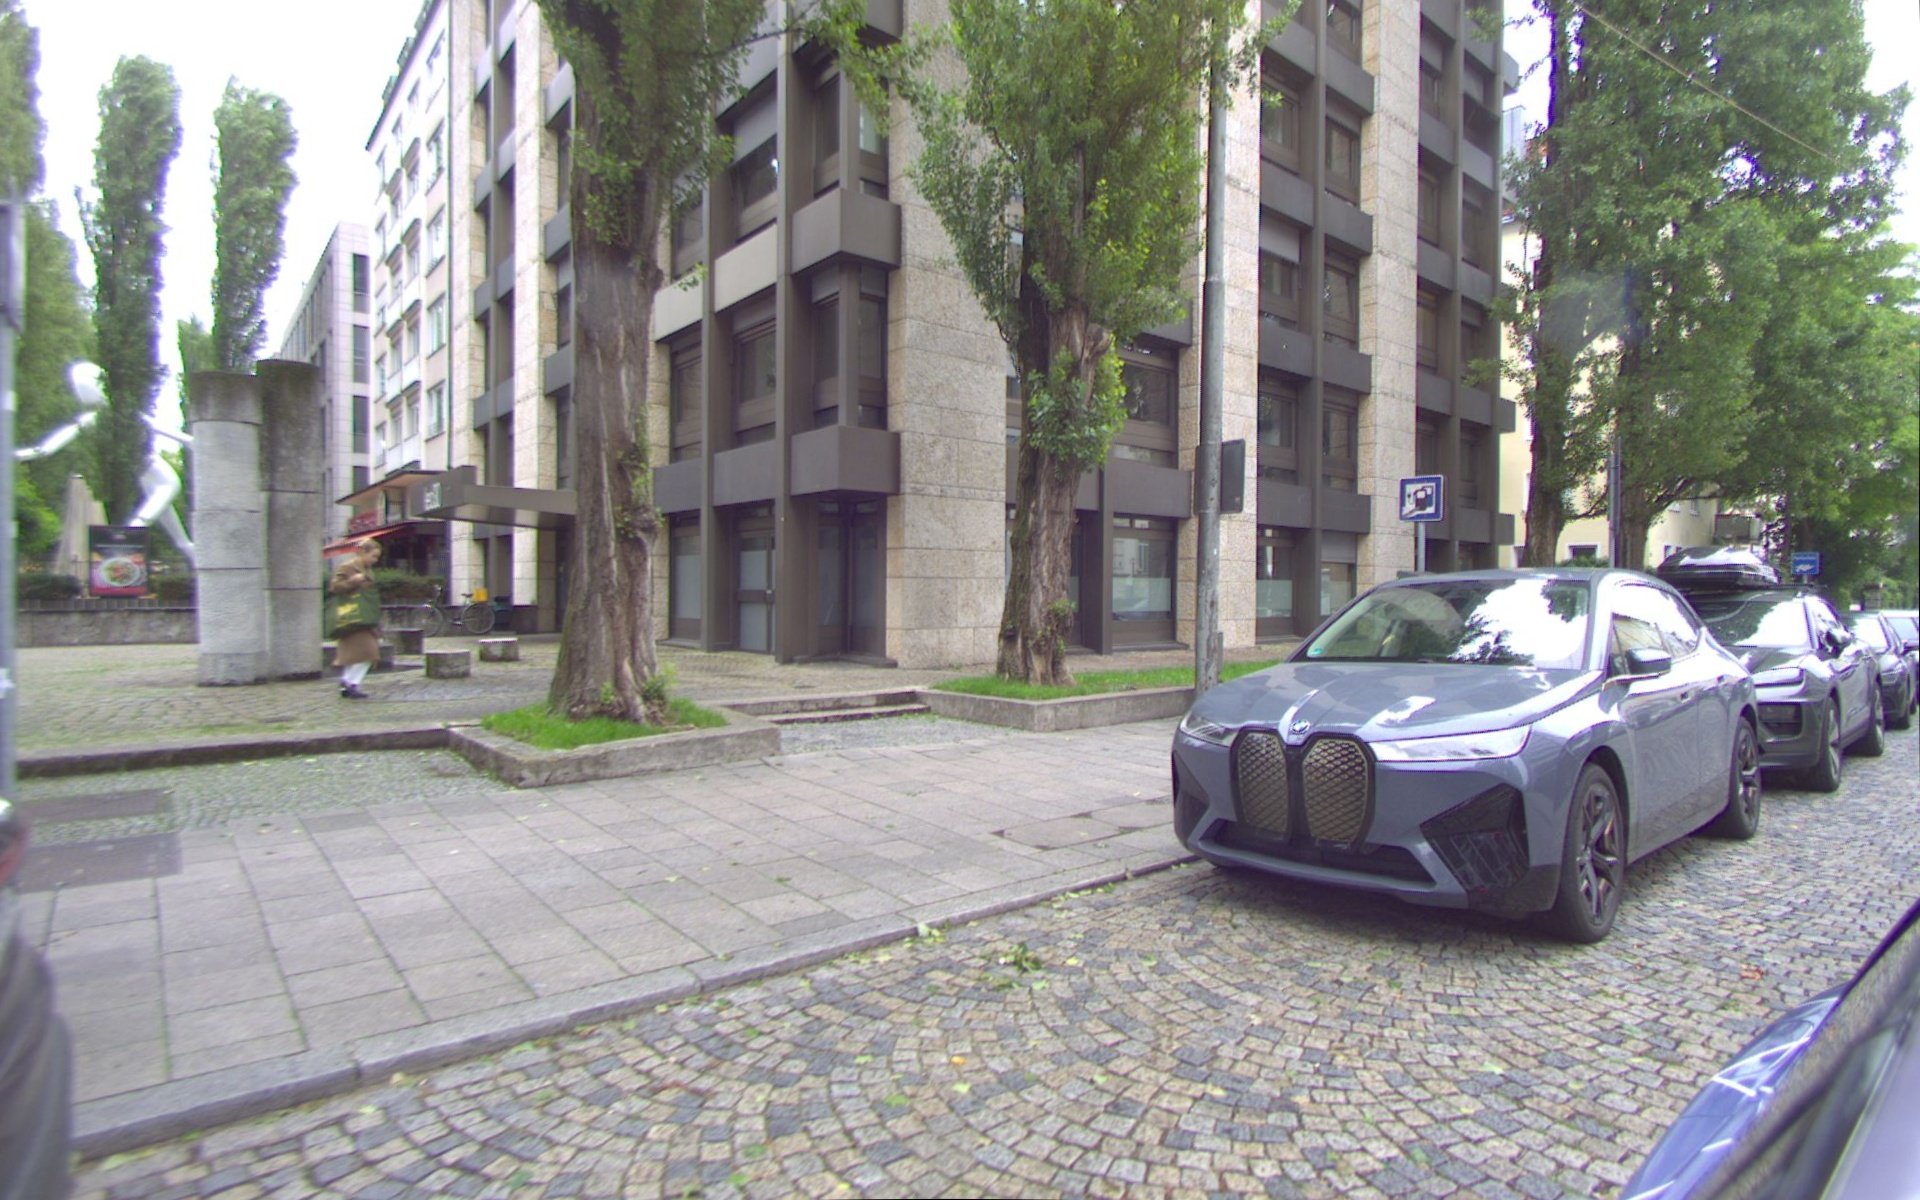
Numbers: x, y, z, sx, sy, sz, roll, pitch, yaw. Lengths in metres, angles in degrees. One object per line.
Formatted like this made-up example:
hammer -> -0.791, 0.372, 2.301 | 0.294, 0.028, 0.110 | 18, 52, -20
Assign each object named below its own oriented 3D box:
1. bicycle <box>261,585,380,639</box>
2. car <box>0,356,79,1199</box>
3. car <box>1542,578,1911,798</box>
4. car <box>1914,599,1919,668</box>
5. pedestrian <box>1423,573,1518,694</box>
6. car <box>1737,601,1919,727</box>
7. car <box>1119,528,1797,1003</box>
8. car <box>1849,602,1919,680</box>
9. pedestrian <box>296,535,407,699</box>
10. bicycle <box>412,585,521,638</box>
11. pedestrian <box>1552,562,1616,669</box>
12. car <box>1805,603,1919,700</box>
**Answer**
bicycle -> -14.410, 0.247, 22.850 | 2.206, 1.170, 0.647 | 0, 1, -40
car -> -3.201, 0.589, 0.519 | 4.129, 1.722, 1.923 | 0, 0, -42
car -> 7.354, 0.627, 9.550 | 4.267, 1.603, 1.997 | 0, 0, -42
car -> 23.320, 0.737, 23.195 | 3.808, 1.518, 1.865 | 0, 0, -43
pedestrian -> 7.559, 0.472, 15.007 | 0.893, 1.735, 0.871 | 0, 0, -20
car -> 11.962, 0.741, 13.721 | 4.136, 1.407, 1.720 | 0, 0, -45
car -> 3.190, 0.587, 5.963 | 4.592, 1.722, 2.016 | 0, 0, -42
car -> 19.090, 0.755, 19.886 | 3.807, 1.405, 1.996 | 0, 0, -42
pedestrian -> -6.257, 0.164, 10.438 | 0.696, 1.627, 0.720 | 1, 0, 3
bicycle -> -11.445, 0.250, 23.516 | 2.206, 1.170, 0.647 | 0, 1, -40
pedestrian -> 9.348, 0.217, 15.155 | 0.697, 1.556, 0.644 | 0, 1, -43
car -> 15.352, 0.775, 16.681 | 3.500, 1.449, 1.603 | 0, -1, -41
